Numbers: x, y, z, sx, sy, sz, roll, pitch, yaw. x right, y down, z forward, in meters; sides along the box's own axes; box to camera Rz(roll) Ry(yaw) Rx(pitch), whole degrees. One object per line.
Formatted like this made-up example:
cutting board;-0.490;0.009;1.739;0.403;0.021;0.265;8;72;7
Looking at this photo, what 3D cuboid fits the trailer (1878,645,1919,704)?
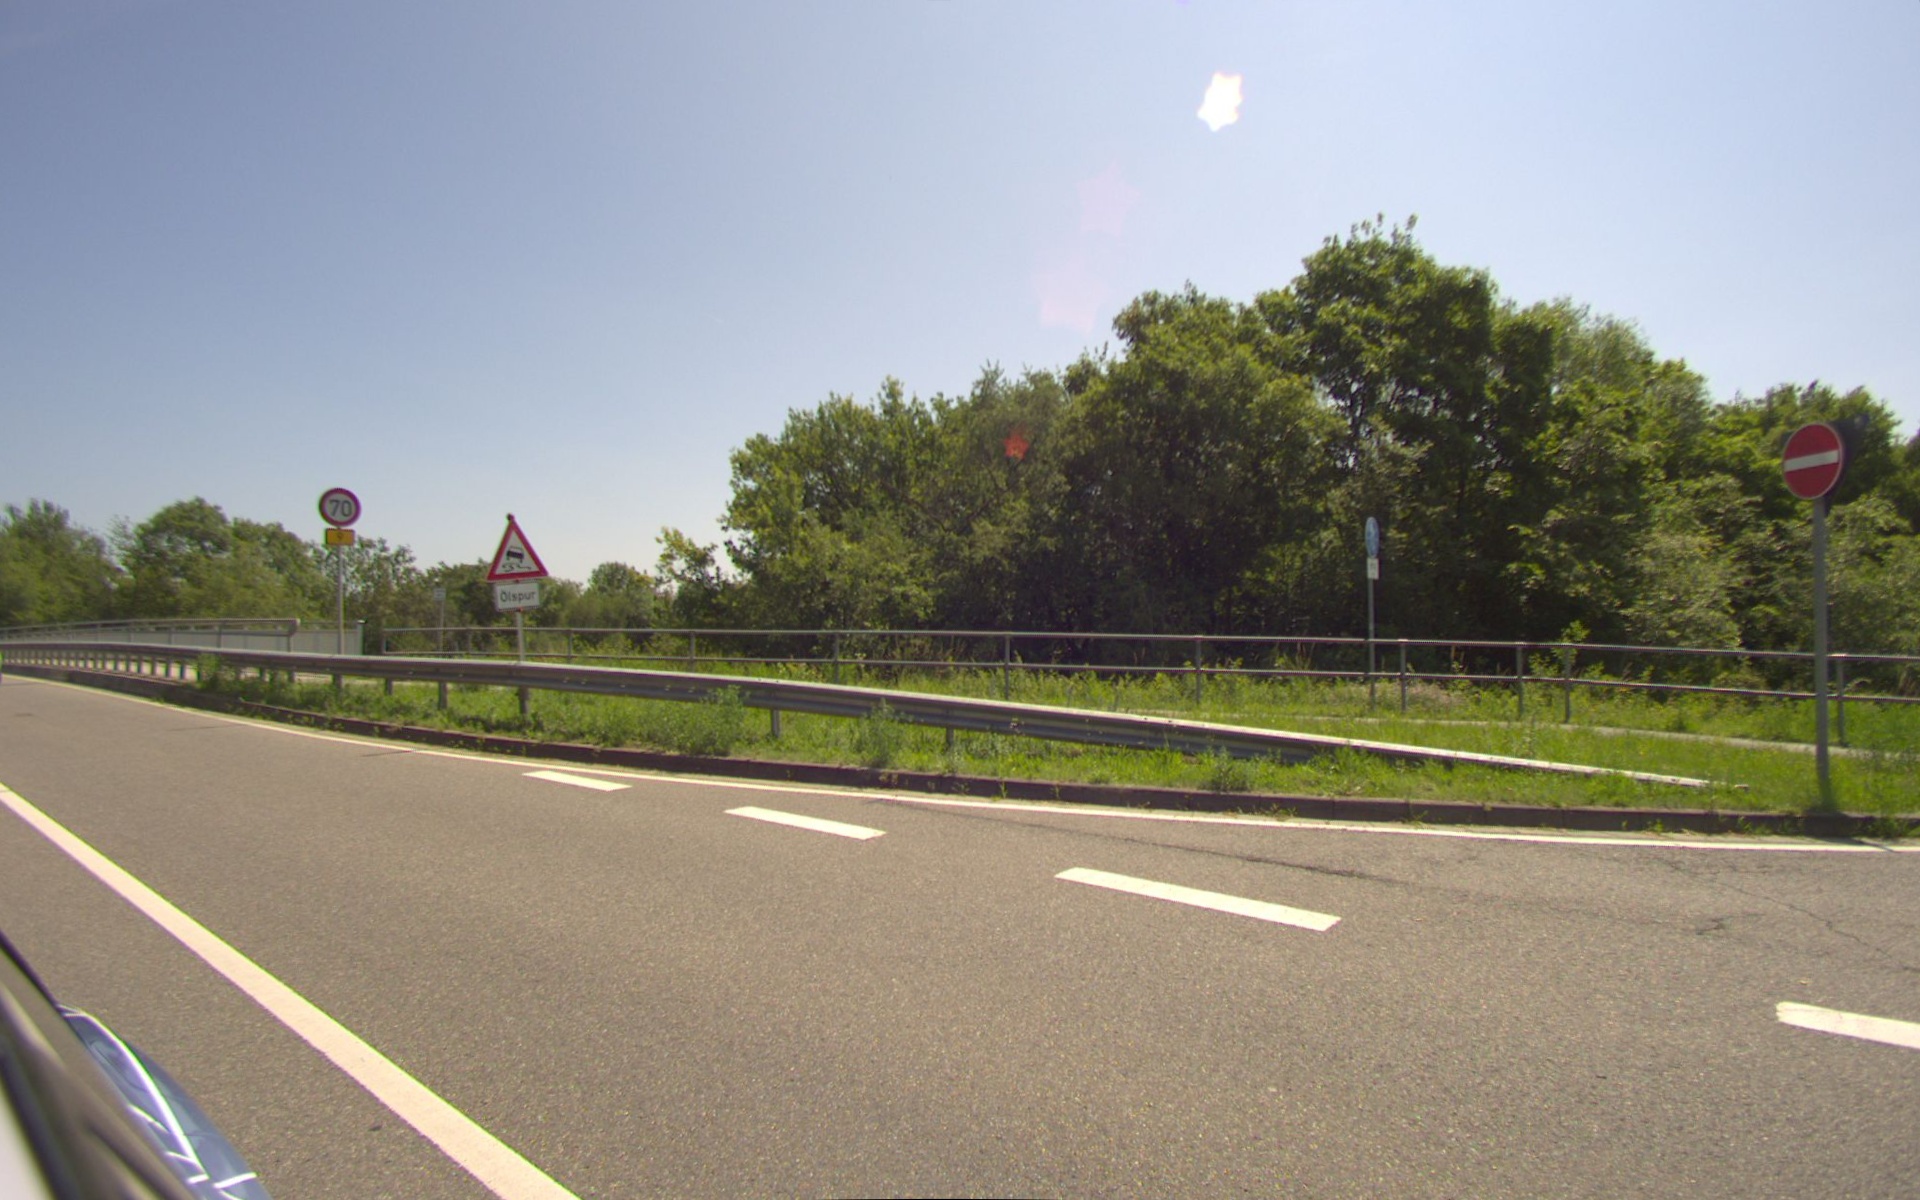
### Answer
trailer;75.263;5.789;74.704;2.960;4.308;13.776;-1;0;3
